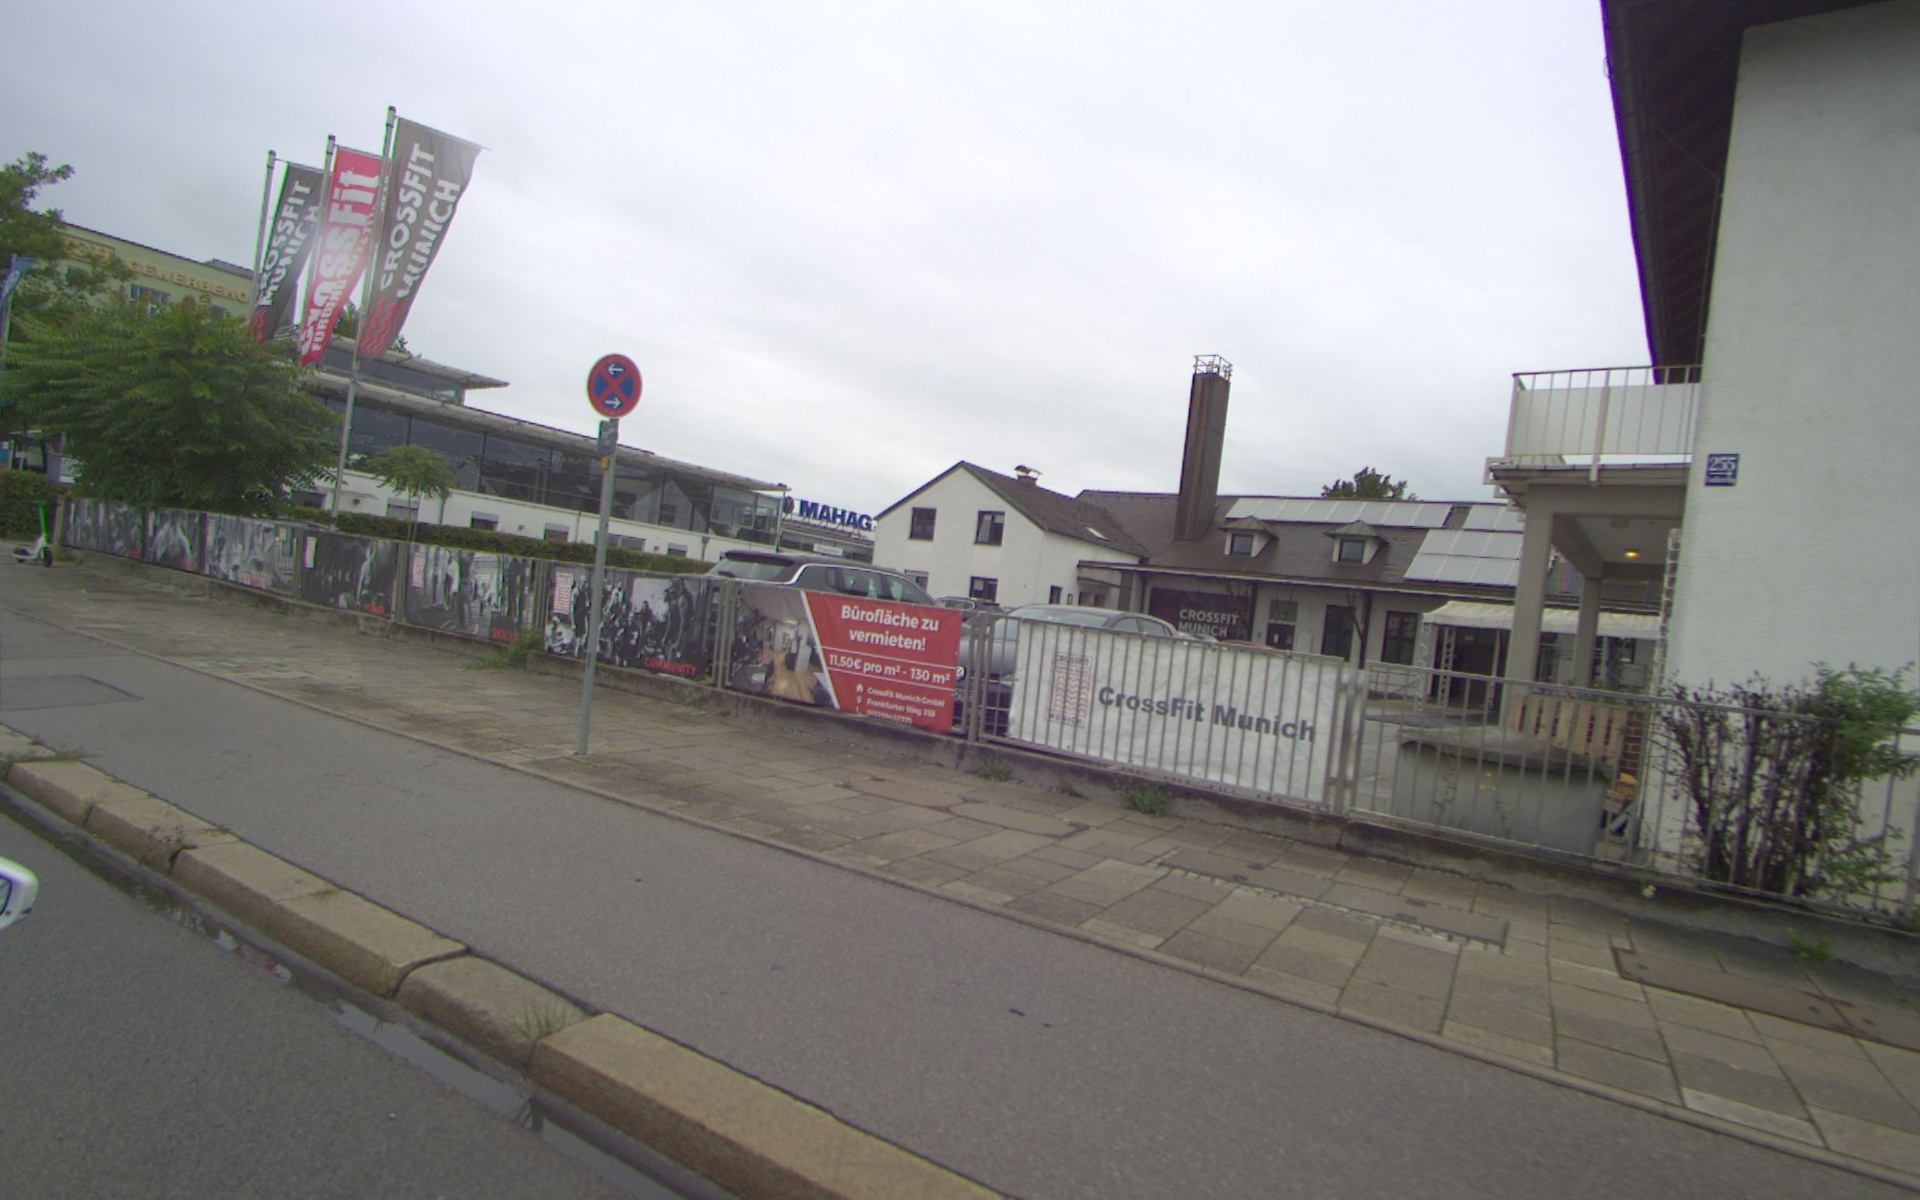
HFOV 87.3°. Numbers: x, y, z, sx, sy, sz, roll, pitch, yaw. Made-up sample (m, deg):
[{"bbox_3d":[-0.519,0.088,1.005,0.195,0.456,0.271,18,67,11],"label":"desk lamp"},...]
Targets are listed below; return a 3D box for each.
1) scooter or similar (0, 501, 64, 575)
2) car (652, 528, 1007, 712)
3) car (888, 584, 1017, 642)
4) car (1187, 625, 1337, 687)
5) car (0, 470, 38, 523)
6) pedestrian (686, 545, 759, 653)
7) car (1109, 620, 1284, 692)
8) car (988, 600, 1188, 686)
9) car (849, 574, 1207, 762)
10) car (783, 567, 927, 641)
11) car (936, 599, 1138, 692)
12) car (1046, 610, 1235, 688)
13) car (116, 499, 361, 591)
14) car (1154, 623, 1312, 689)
[{"bbox_3d":[-17.095,-1.148,18.393,1.610,1.239,0.397,6,3,24],"label":"scooter or similar"},{"bbox_3d":[-1.395,0.327,12.266,1.896,1.747,4.098,7,-1,35],"label":"car"},{"bbox_3d":[-0.347,0.479,38.585,4.616,1.689,1.920,7,0,37],"label":"car"},{"bbox_3d":[10.173,1.873,34.029,4.337,1.487,1.921,7,0,37],"label":"car"},{"bbox_3d":[-40.569,-4.399,40.837,4.211,2.040,1.948,5,1,-30],"label":"car"},{"bbox_3d":[-4.533,-0.016,19.186,0.916,1.925,0.734,7,1,32],"label":"pedestrian"},{"bbox_3d":[6.879,1.628,29.496,4.478,1.487,1.921,7,0,37],"label":"car"},{"bbox_3d":[3.091,1.040,24.858,4.473,1.530,1.919,6,0,40],"label":"car"},{"bbox_3d":[0.930,0.732,10.811,1.896,1.467,4.098,7,-1,35],"label":"car"},{"bbox_3d":[-3.588,0.113,33.885,4.616,1.927,1.920,7,0,37],"label":"car"},{"bbox_3d":[1.636,0.973,22.272,4.055,1.511,1.917,6,-1,44],"label":"car"},{"bbox_3d":[4.793,1.286,27.117,4.563,1.487,1.919,6,0,40],"label":"car"},{"bbox_3d":[-15.921,-1.173,22.395,1.766,1.478,4.014,7,0,36],"label":"car"},{"bbox_3d":[8.638,1.757,31.944,4.337,1.487,1.921,7,0,37],"label":"car"}]
